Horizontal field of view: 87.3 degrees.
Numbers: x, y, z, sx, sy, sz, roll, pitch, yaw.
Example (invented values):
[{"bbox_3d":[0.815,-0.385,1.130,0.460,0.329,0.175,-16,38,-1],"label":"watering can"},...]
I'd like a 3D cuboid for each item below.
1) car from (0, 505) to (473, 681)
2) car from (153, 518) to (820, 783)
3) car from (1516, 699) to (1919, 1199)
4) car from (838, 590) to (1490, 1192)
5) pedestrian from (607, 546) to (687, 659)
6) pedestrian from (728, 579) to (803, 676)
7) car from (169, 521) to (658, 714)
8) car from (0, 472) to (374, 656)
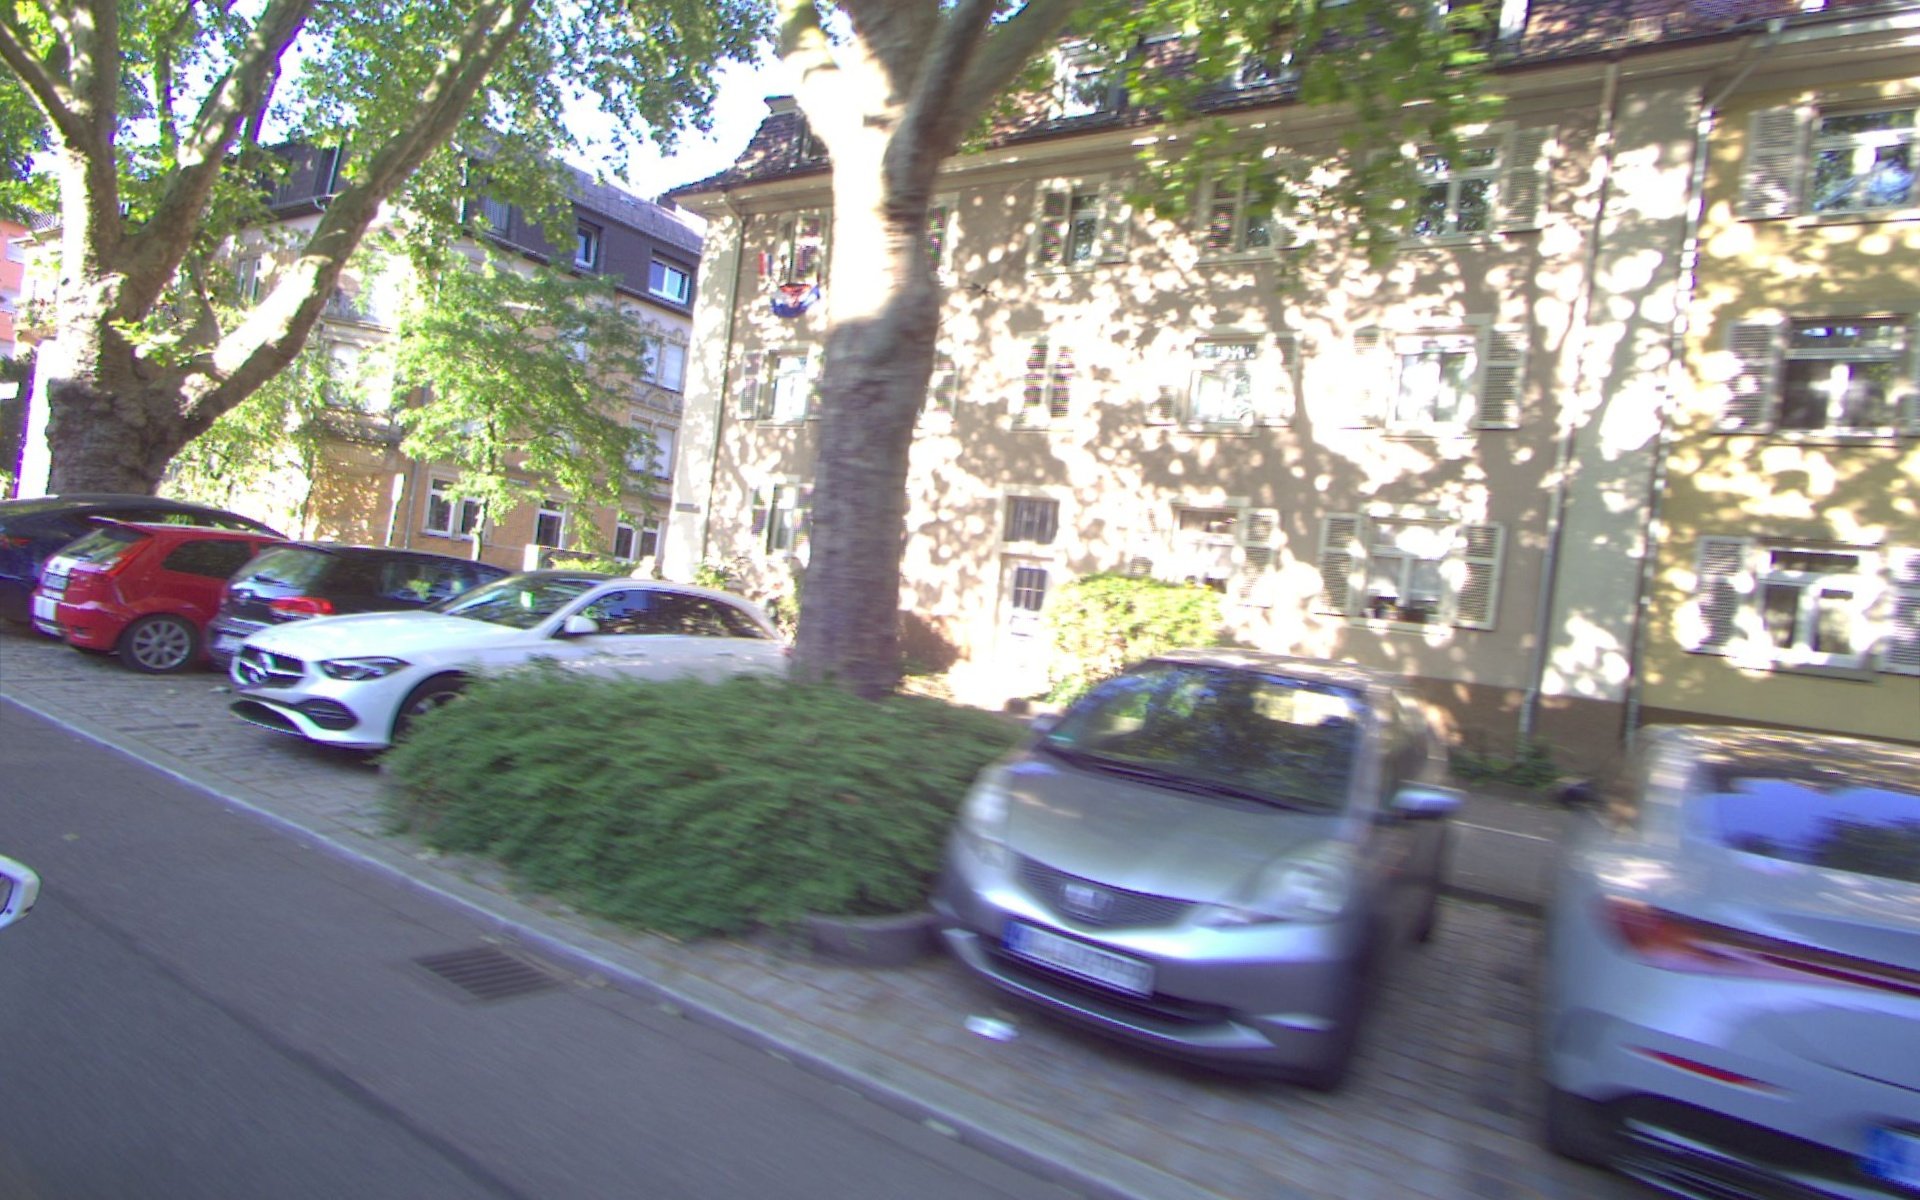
[{"bbox_3d":[-7.560,0.014,10.819,1.858,1.394,3.655,7,-1,32],"label":"car"},{"bbox_3d":[-3.453,0.453,8.399,1.860,1.464,4.694,7,-1,31],"label":"car"},{"bbox_3d":[3.296,1.249,3.798,1.915,1.456,4.304,7,-1,30],"label":"car"},{"bbox_3d":[1.445,0.985,5.047,1.766,1.527,4.149,7,-1,31],"label":"car"},{"bbox_3d":[-5.234,0.054,16.840,0.807,1.760,0.761,7,0,31],"label":"pedestrian"},{"bbox_3d":[-3.186,0.456,16.481,0.807,1.473,0.662,7,0,31],"label":"pedestrian"},{"bbox_3d":[-5.214,0.267,10.134,1.724,1.452,3.889,7,-1,31],"label":"car"},{"bbox_3d":[-9.479,-0.369,11.818,1.927,1.690,3.932,7,-1,29],"label":"car"}]
